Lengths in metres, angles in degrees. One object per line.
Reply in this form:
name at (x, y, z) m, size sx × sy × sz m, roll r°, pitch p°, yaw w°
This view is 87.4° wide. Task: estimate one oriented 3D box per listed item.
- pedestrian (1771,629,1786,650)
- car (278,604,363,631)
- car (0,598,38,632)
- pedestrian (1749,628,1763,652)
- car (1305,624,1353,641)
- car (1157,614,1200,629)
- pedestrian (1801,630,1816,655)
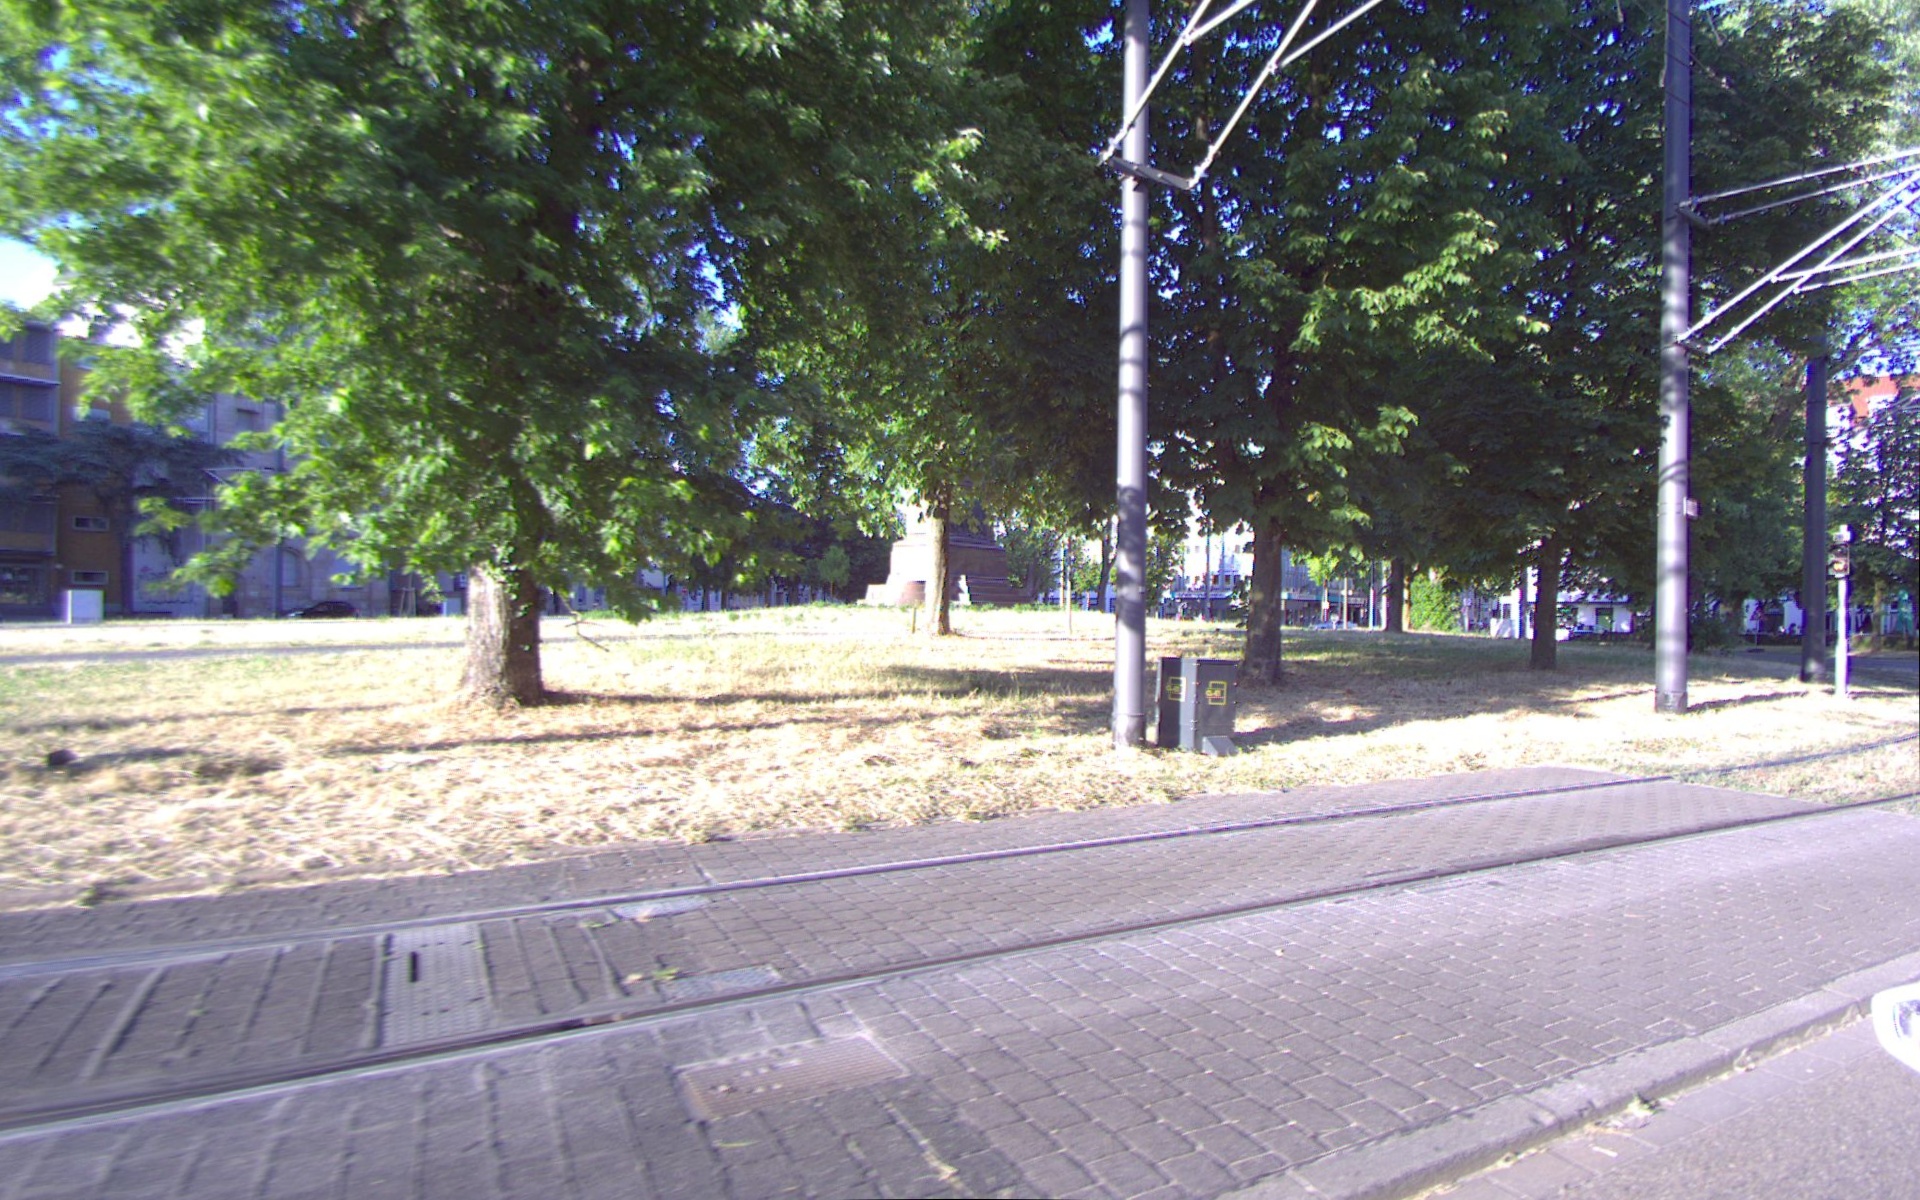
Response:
pedestrian at (54.799, 2.649, 67.219) m, size 0.654 × 1.370 × 0.661 m, roll 1°, pitch 0°, yaw -41°
car at (-34.044, 0.917, 53.546) m, size 1.526 × 1.372 × 3.516 m, roll 2°, pitch 1°, yaw 28°
car at (-40.471, 0.598, 41.262) m, size 1.527 × 1.372 × 3.514 m, roll 2°, pitch 1°, yaw 29°
pedestrian at (52.011, 2.626, 65.646) m, size 0.653 × 1.517 × 0.530 m, roll 1°, pitch 0°, yaw -36°
car at (33.490, 2.947, 91.300) m, size 3.873 × 1.482 × 1.594 m, roll 1°, pitch 0°, yaw 10°
car at (23.327, 2.245, 107.303) m, size 3.937 × 1.483 × 1.992 m, roll 1°, pitch 0°, yaw 38°
pedestrian at (53.545, 2.688, 63.390) m, size 0.653 × 1.517 × 0.530 m, roll 1°, pitch 0°, yaw -36°
